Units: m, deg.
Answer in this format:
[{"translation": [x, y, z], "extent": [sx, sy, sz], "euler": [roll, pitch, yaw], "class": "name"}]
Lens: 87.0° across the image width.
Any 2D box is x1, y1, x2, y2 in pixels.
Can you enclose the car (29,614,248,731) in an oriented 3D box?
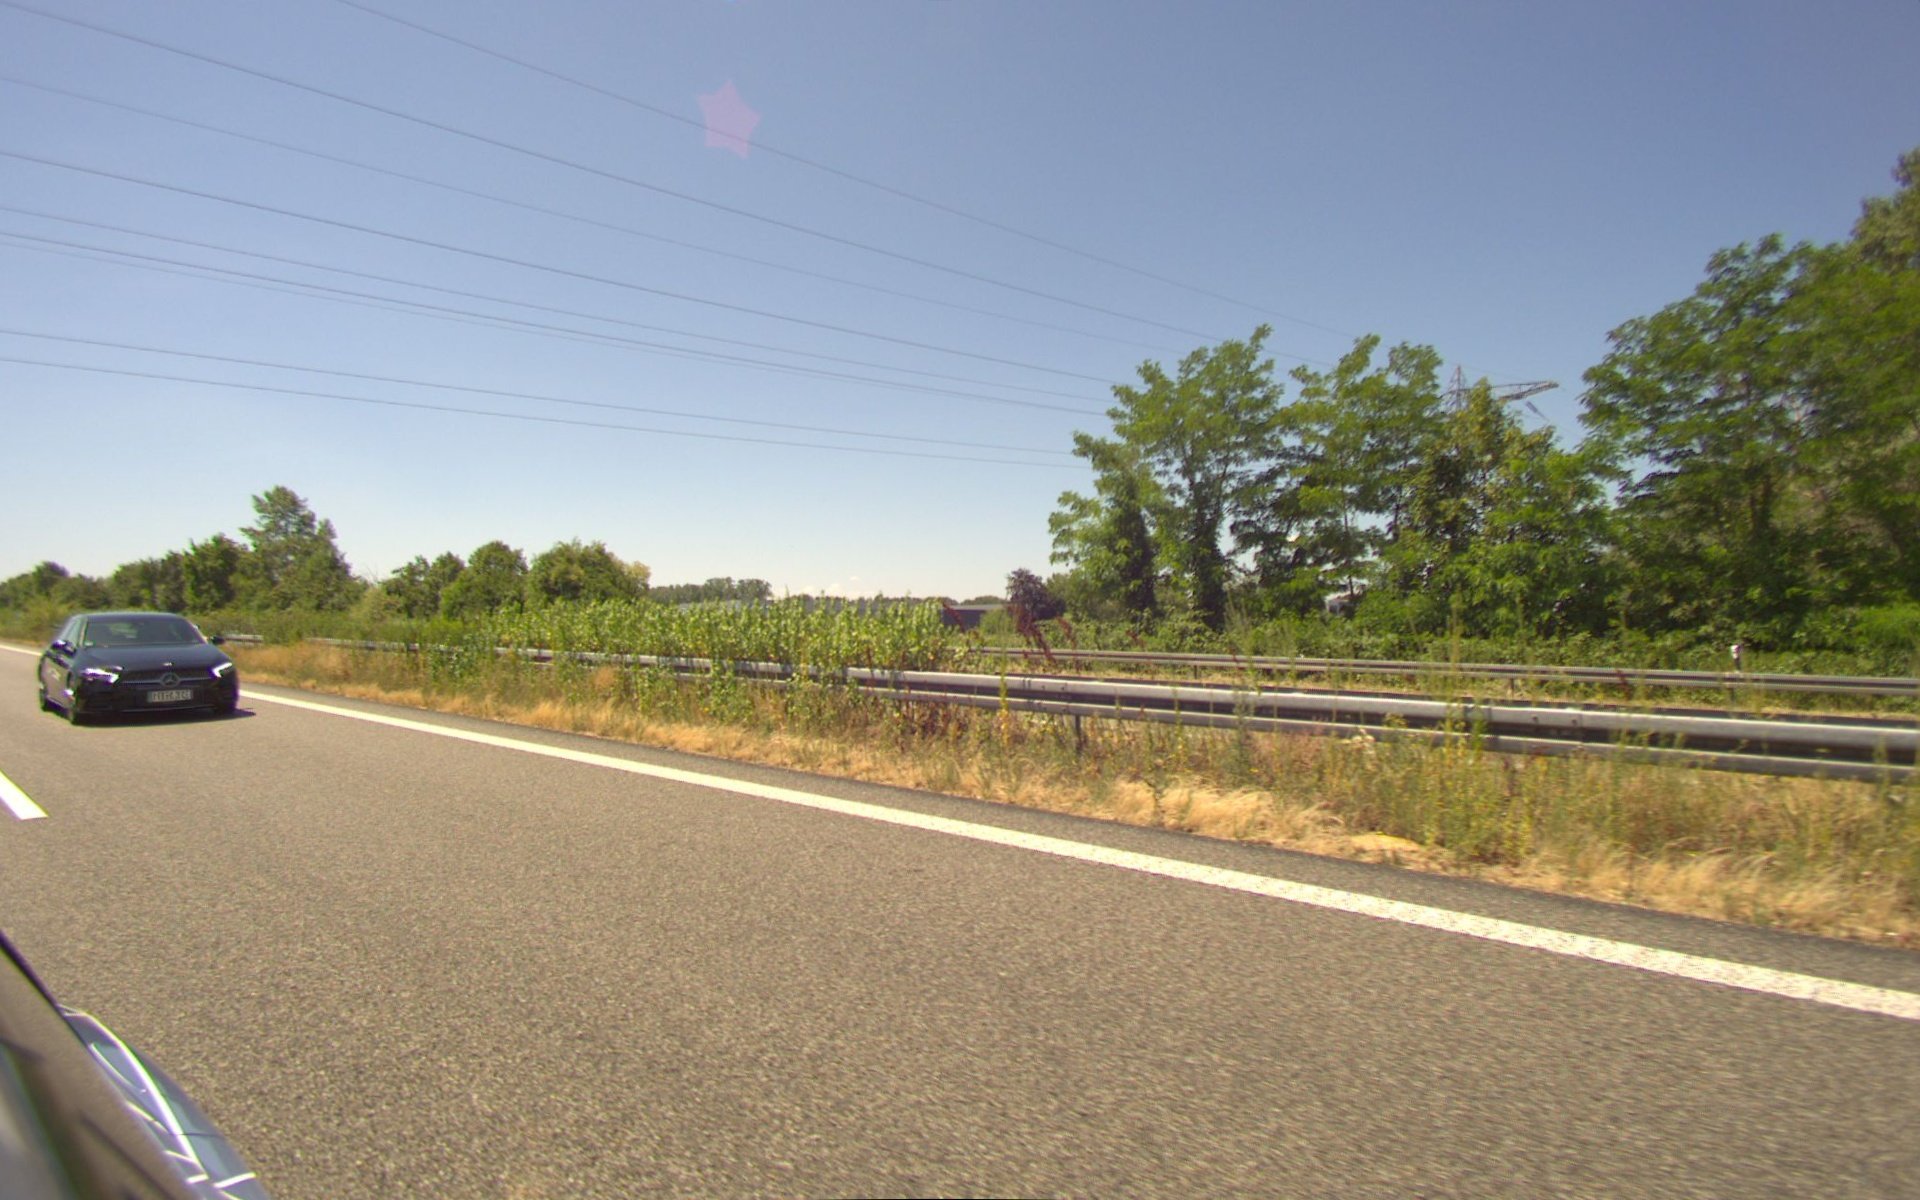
[{"translation": [-11.734, 0.920, 14.370], "extent": [4.051, 1.422, 1.773], "euler": [-1, -1, 41], "class": "car"}]
